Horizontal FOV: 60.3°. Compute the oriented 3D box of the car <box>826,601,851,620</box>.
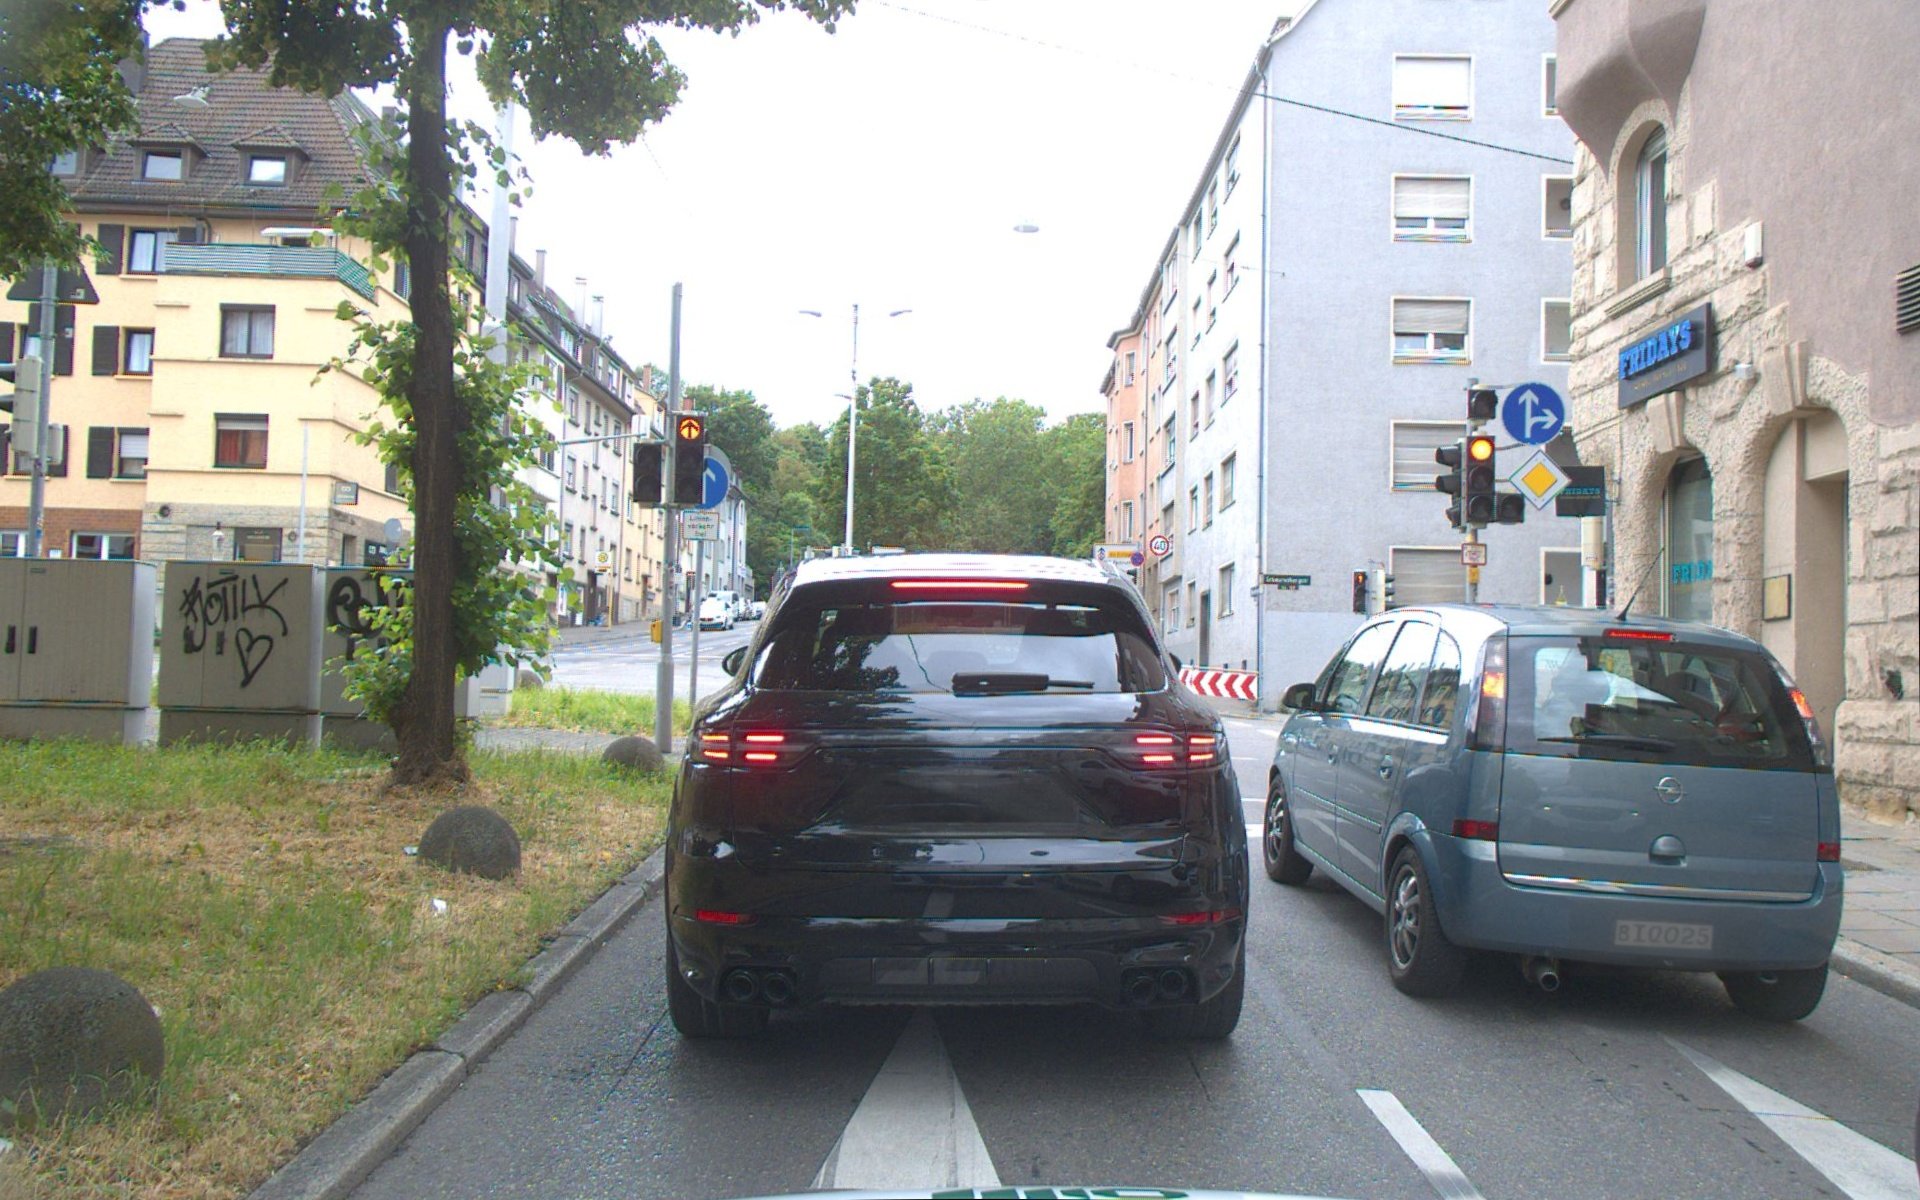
[{"bbox_3d":[-10.058,0.883,137.529,1.585,1.506,3.824,1,-1,3],"label":"car"}]

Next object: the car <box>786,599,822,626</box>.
[{"bbox_3d":[-9.990,0.786,106.232,1.933,1.638,4.557,1,0,-1],"label":"car"}]

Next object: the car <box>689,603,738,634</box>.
[{"bbox_3d":[-12.467,0.913,83.901,1.806,1.512,3.898,1,0,1],"label":"car"}]

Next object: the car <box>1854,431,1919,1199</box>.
[{"bbox_3d":[2.887,0.634,1.022,1.936,1.806,4.674,4,0,-2],"label":"car"}]

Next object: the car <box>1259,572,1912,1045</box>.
[{"bbox_3d":[2.627,0.773,7.890,1.596,1.625,3.668,4,0,-1],"label":"car"}]

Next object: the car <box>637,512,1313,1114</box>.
[{"bbox_3d":[0.021,0.614,6.705,1.916,1.704,3.999,0,0,-1],"label":"car"}]

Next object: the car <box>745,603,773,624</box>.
[{"bbox_3d":[-15.137,1.030,124.701,1.655,1.565,3.813,1,0,0],"label":"car"}]

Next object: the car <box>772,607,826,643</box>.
[{"bbox_3d":[-6.666,1.028,68.826,1.824,1.412,4.094,1,0,0],"label":"car"}]
